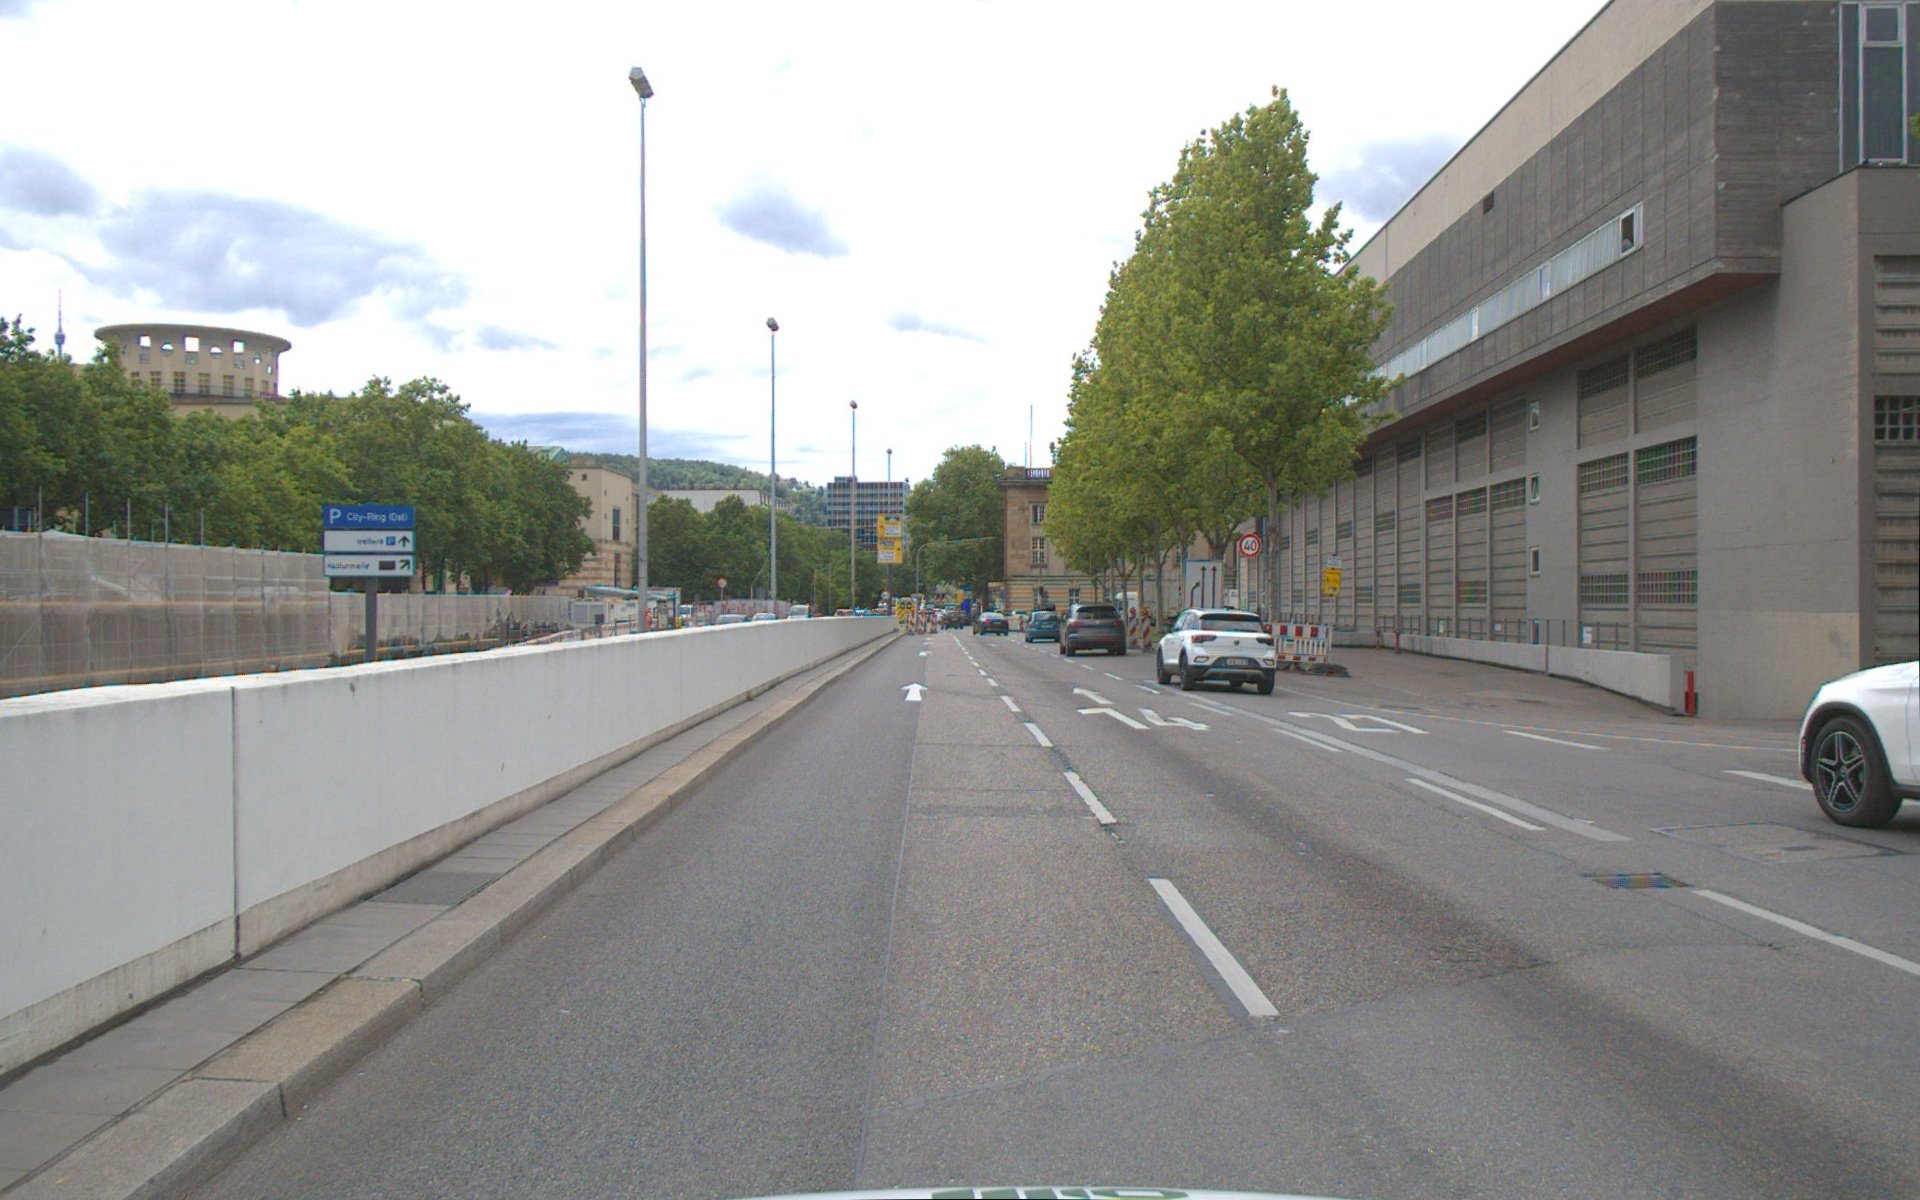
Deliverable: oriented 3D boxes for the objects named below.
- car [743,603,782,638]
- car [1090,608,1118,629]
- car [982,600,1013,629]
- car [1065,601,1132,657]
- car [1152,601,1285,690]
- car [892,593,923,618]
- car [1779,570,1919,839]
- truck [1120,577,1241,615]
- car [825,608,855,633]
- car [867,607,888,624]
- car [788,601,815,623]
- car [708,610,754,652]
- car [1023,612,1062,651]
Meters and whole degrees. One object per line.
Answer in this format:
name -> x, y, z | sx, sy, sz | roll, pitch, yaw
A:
car -> -12.324, 1.240, 103.392 | 1.953, 2.048, 4.000 | 0, 1, -1
car -> 11.371, 1.489, 130.606 | 1.818, 1.595, 4.330 | 0, -1, 0
car -> 2.416, 0.930, 106.252 | 1.785, 1.771, 4.482 | -1, 0, 4
car -> 4.529, 0.914, 54.563 | 1.786, 1.595, 4.480 | 1, 2, -1
car -> 5.047, 0.853, 32.859 | 1.716, 1.595, 4.328 | 1, 0, -3
car -> -5.253, 0.586, 166.220 | 2.528, 2.416, 5.529 | -1, 0, 4
car -> 6.958, 0.626, 9.571 | 1.777, 1.671, 4.546 | -2, 0, -6
truck -> 18.478, -0.317, 138.775 | 9.823, 3.104, 2.569 | 0, -1, 0
car -> -8.198, 1.423, 113.328 | 1.715, 1.595, 3.377 | -3, -1, 0
car -> -7.658, 1.433, 154.349 | 1.715, 1.595, 4.331 | 0, -1, 0
car -> -12.327, 0.922, 128.595 | 1.715, 1.595, 3.377 | -3, -1, 0
car -> -12.134, 1.640, 87.875 | 1.953, 2.048, 4.000 | 0, 1, -1
car -> 4.022, 1.506, 80.340 | 1.785, 1.771, 4.482 | -1, 0, 4
